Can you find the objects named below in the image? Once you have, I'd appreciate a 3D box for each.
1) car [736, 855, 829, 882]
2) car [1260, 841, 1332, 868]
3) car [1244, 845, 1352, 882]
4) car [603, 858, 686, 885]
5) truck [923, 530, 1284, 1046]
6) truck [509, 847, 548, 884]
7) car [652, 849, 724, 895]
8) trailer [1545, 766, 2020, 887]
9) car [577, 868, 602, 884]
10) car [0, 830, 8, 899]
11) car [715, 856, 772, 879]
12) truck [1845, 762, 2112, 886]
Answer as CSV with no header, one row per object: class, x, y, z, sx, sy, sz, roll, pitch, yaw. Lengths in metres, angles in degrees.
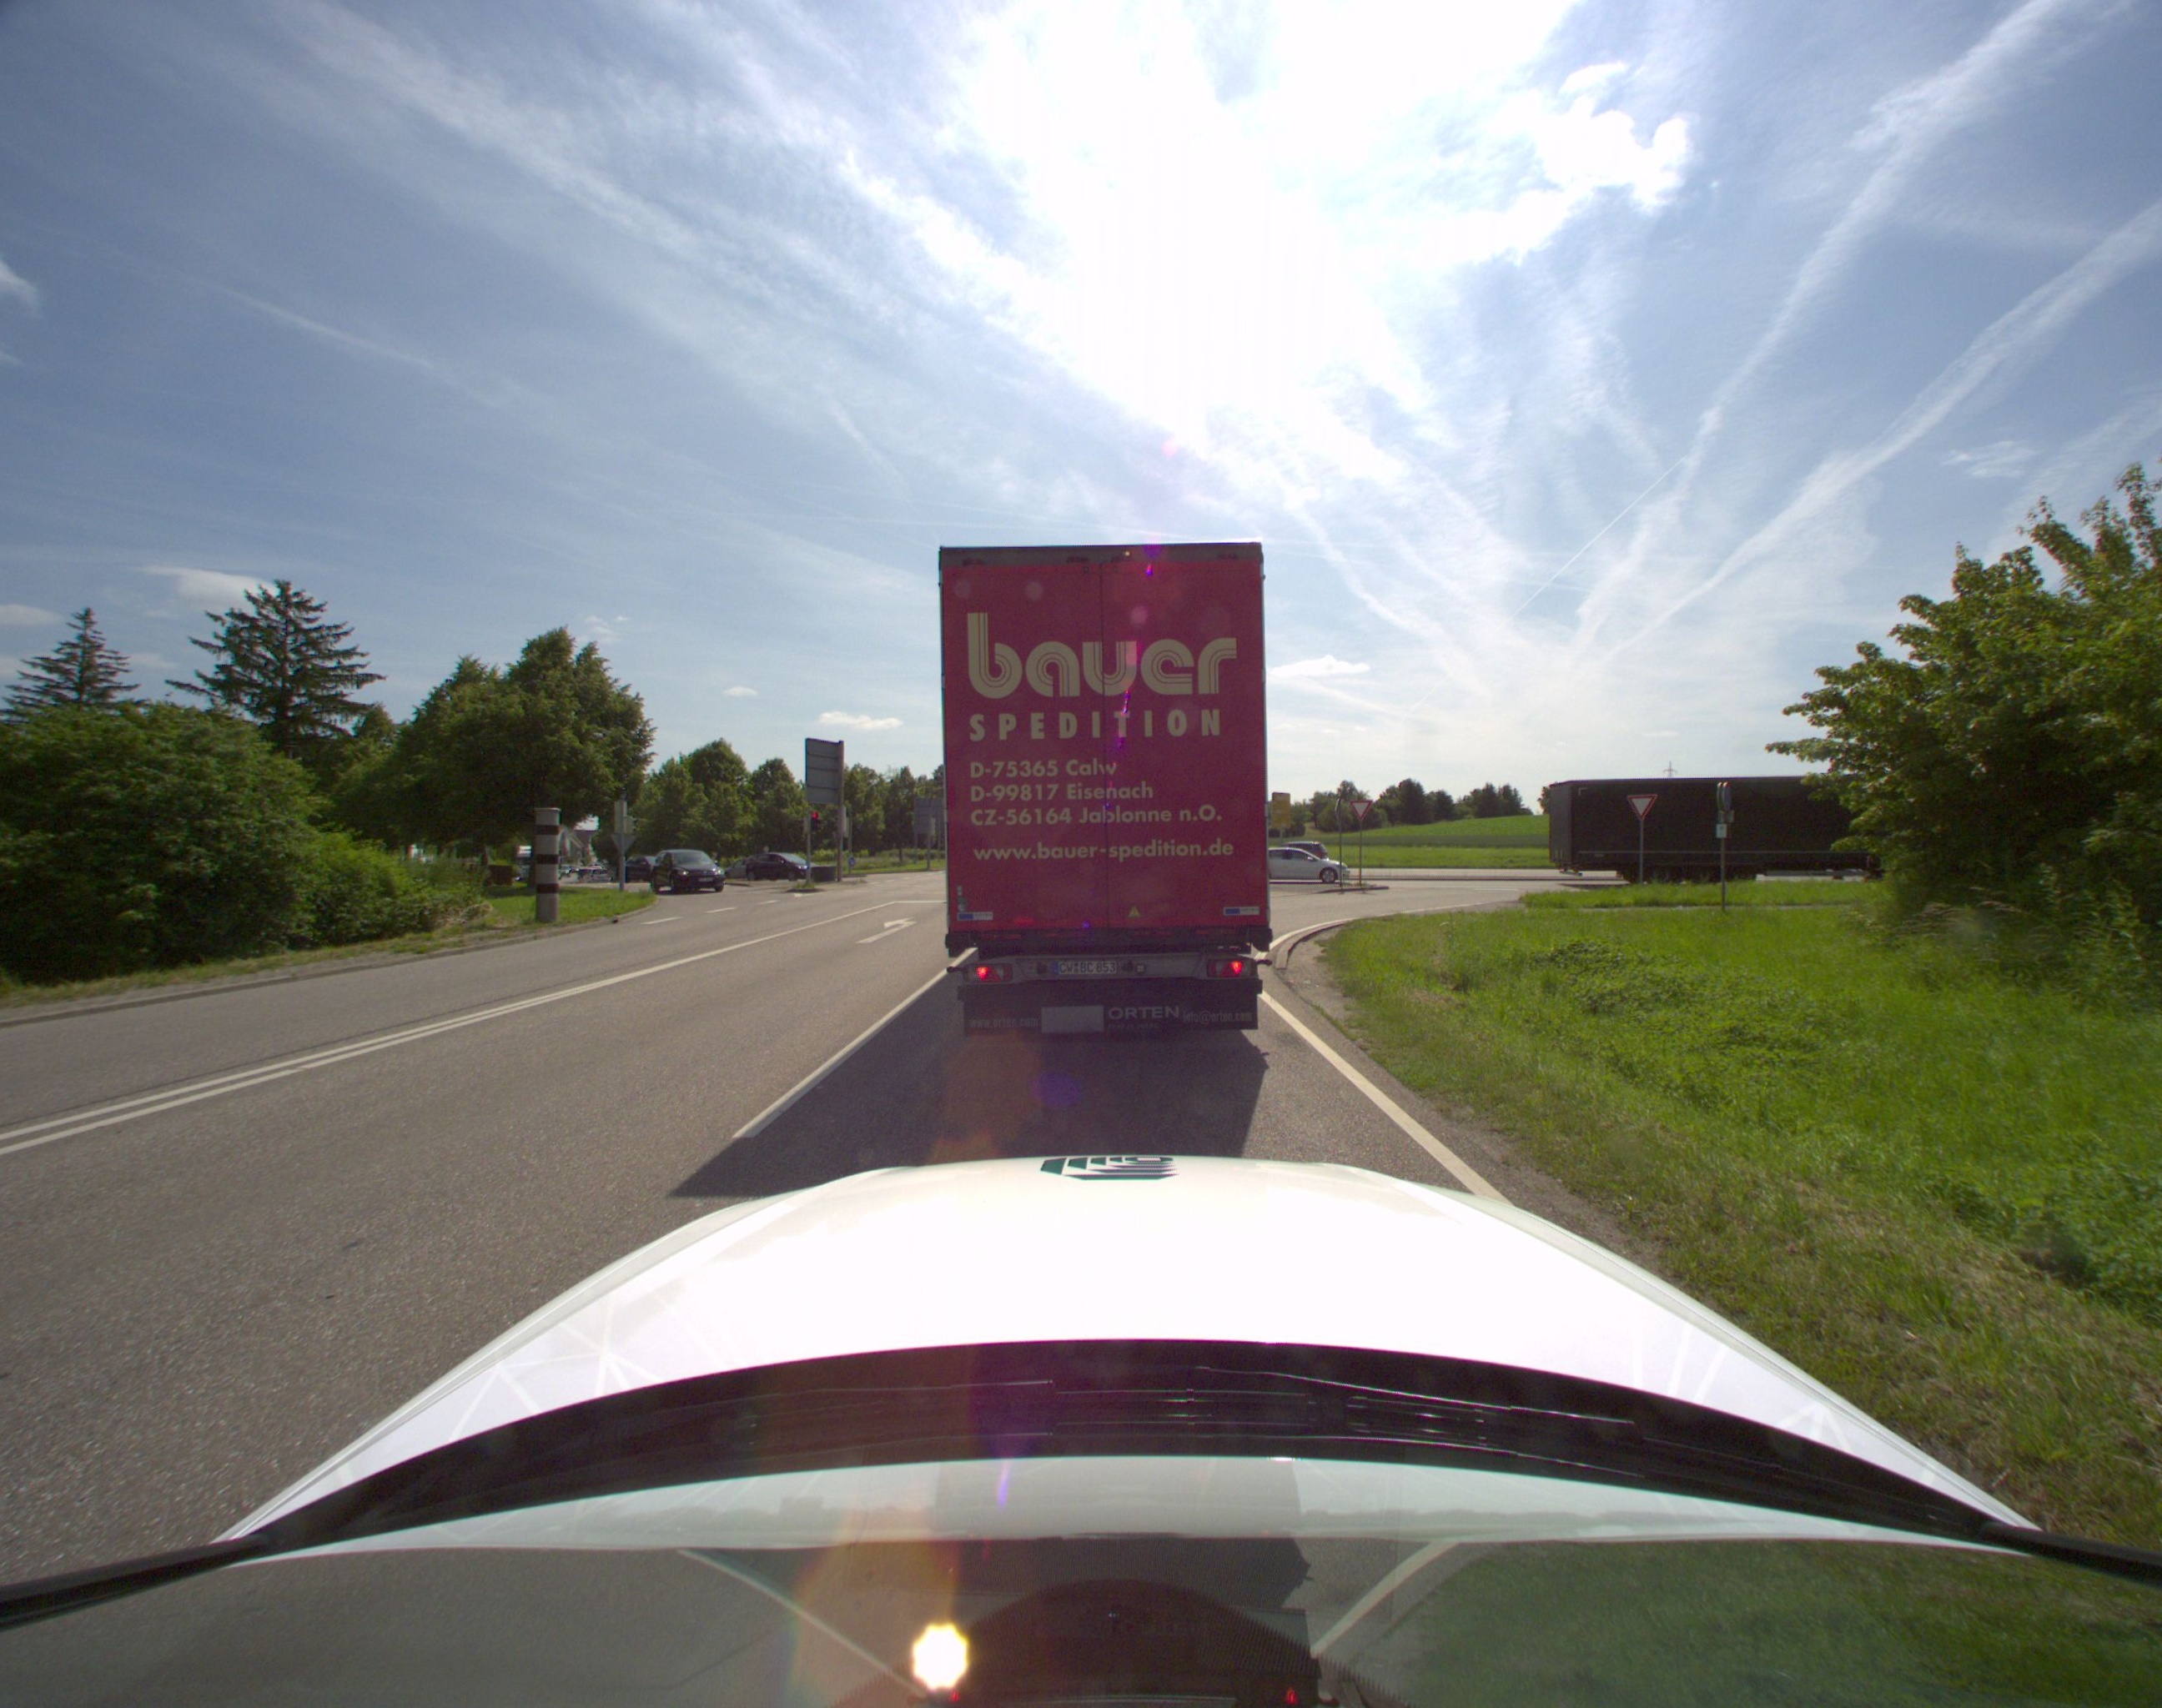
car,-14.954,0.722,40.769,4.230,1.305,1.751,0,-1,21
car,13.167,0.019,49.967,3.948,1.596,1.675,0,0,37
car,8.934,0.362,33.657,4.216,1.461,1.817,0,1,14
car,-23.816,0.950,44.389,4.228,1.429,1.751,0,-1,24
truck,0.399,-0.559,14.567,2.724,3.925,16.631,-1,0,2
truck,-60.054,1.241,88.660,2.955,3.798,7.850,0,-1,-30
car,-15.269,0.641,31.531,1.818,1.597,4.222,-2,1,-36
trailer,25.064,-0.924,30.065,13.589,4.061,2.808,0,1,13
car,-44.618,2.014,73.896,1.683,1.357,3.819,-1,-1,-35
car,-36.053,0.317,24.201,4.601,2.180,1.985,0,0,-22
car,-23.155,0.922,55.826,3.957,1.491,1.547,-1,-1,30
truck,31.296,-0.987,28.693,5.785,4.061,2.808,0,1,13
